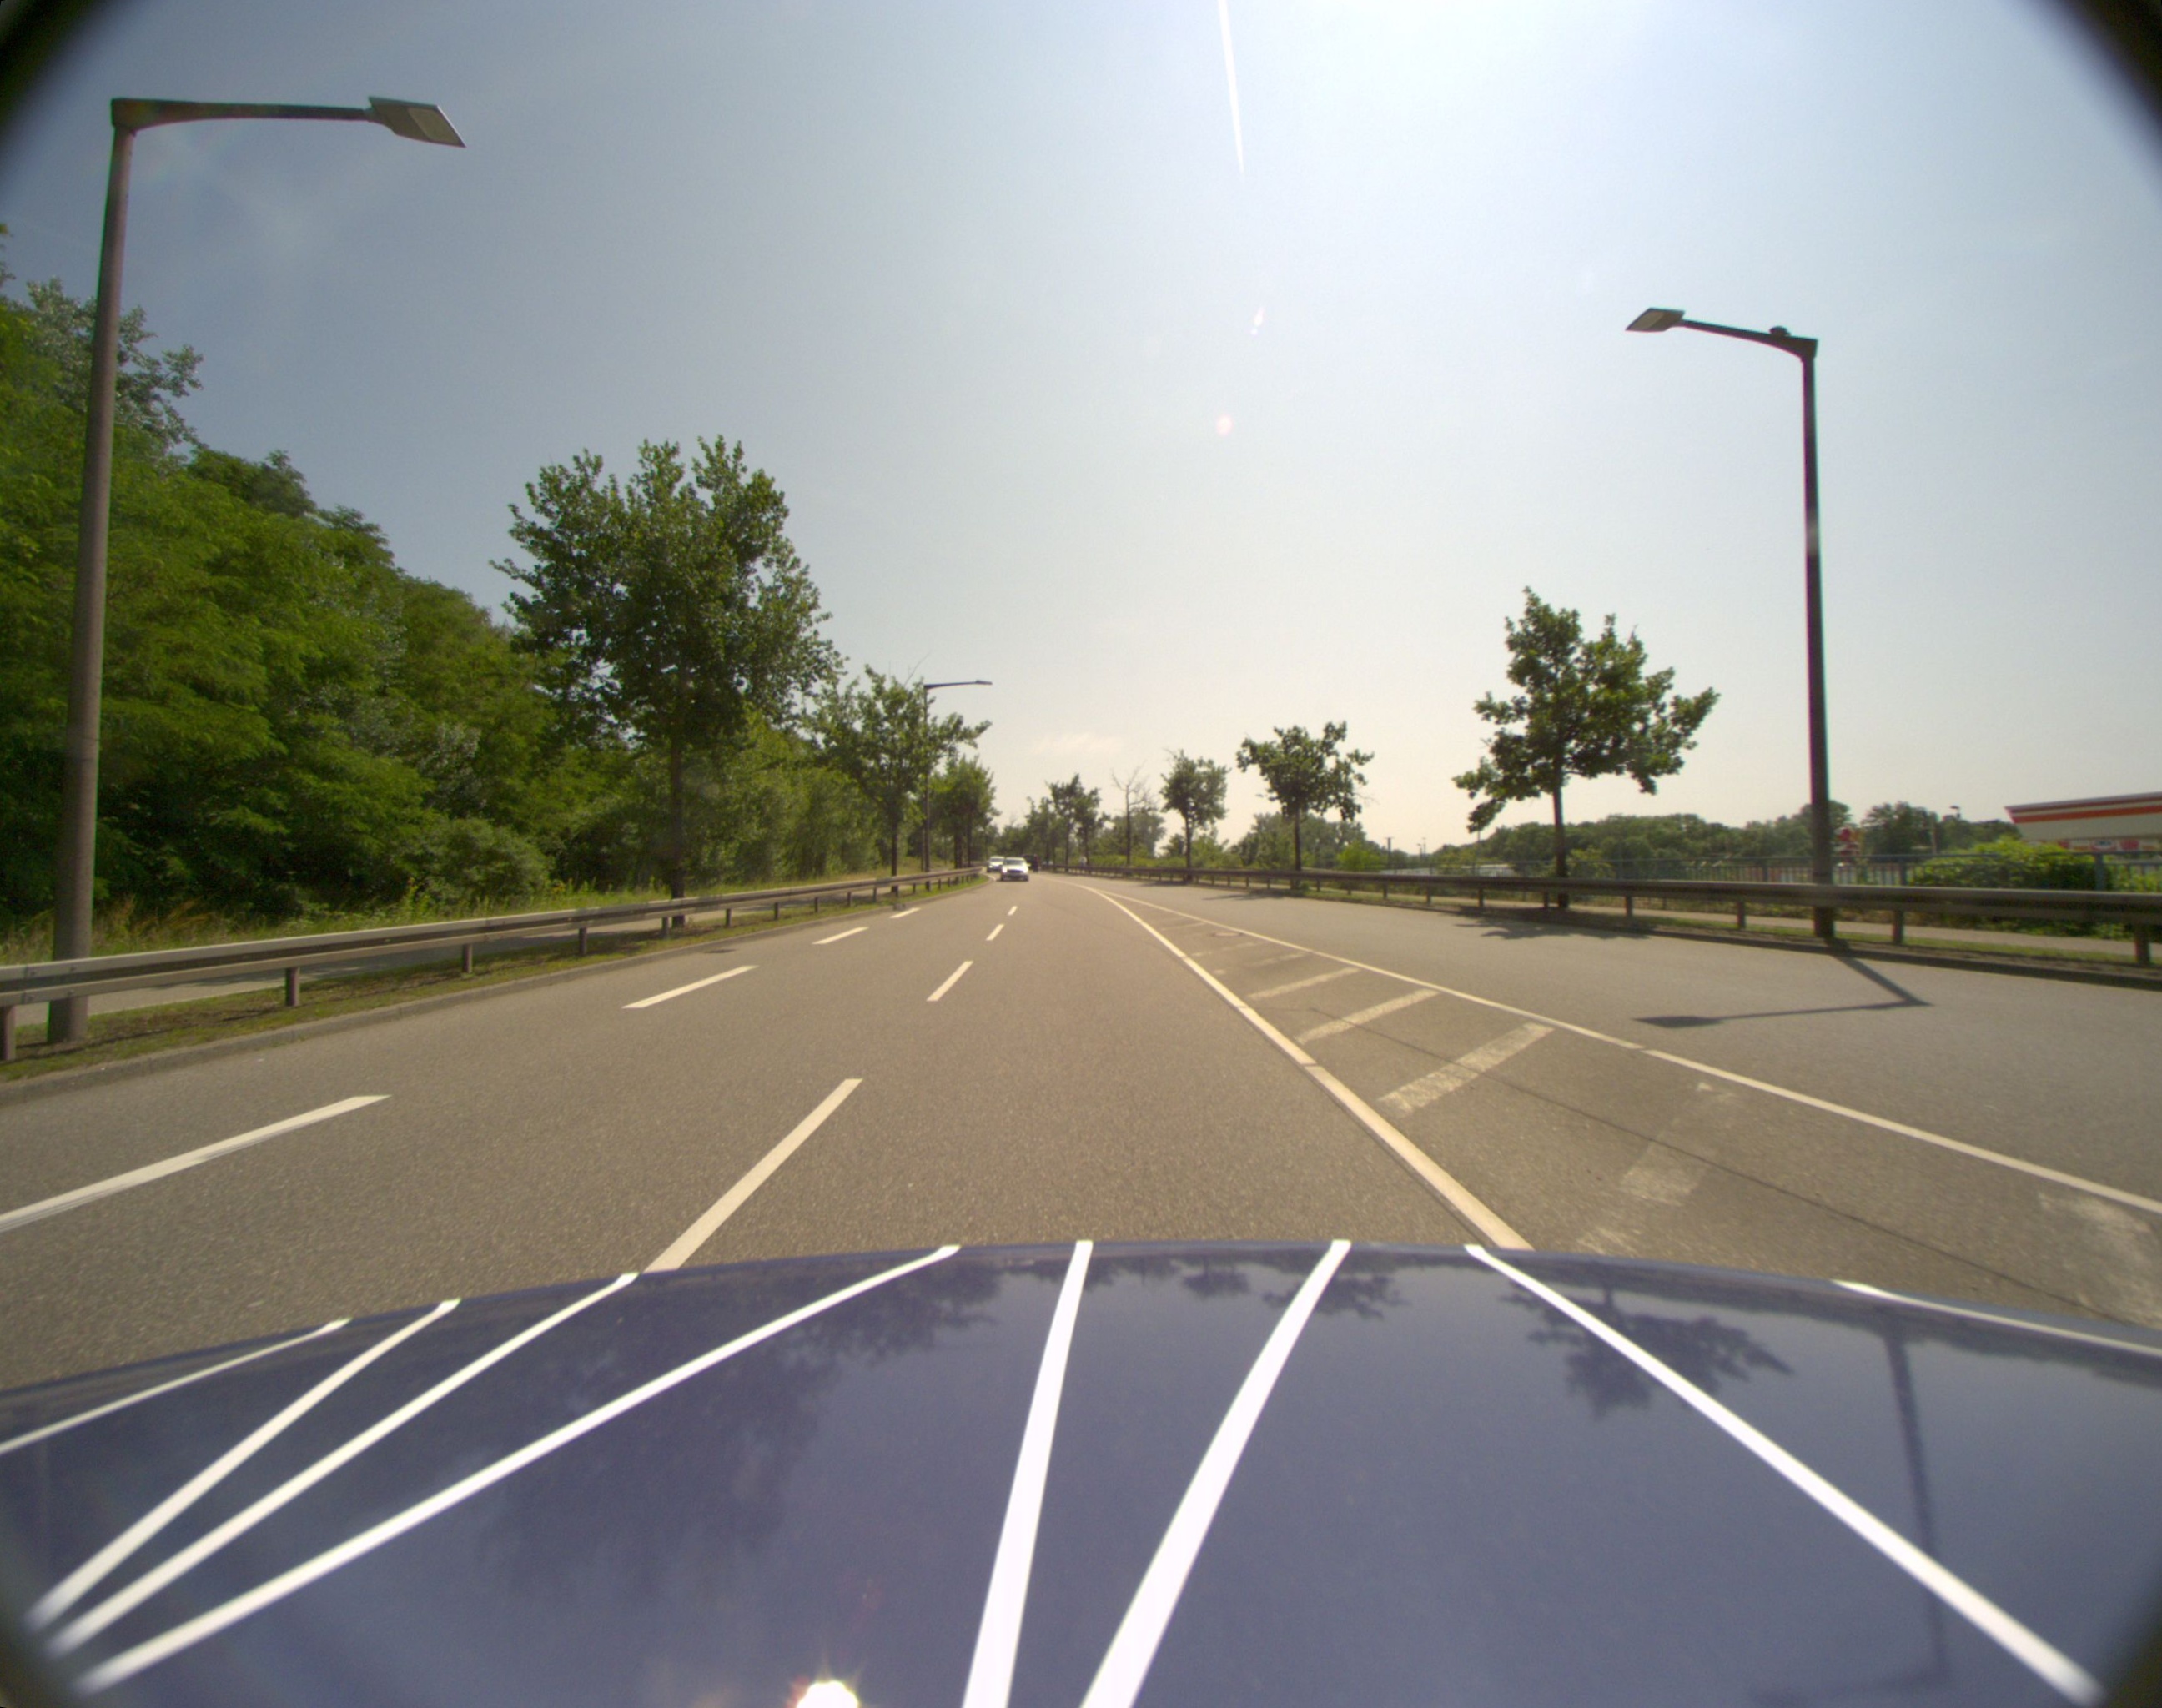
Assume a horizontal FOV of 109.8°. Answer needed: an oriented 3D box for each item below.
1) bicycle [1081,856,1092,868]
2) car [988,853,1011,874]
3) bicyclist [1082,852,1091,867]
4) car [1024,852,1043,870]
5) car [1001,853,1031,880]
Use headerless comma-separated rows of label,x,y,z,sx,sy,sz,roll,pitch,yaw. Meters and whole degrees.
bicycle,0.538,0.812,75.963,0.736,1.110,2.044,3,0,-8
car,-7.310,0.810,67.643,1.800,1.772,4.290,1,0,-9
bicyclist,0.561,0.509,75.888,0.732,1.457,0.823,3,0,-7
car,-4.860,0.682,77.827,1.812,1.749,4.250,1,0,-4
car,-3.990,0.754,47.090,1.764,1.490,4.231,-2,1,-4
